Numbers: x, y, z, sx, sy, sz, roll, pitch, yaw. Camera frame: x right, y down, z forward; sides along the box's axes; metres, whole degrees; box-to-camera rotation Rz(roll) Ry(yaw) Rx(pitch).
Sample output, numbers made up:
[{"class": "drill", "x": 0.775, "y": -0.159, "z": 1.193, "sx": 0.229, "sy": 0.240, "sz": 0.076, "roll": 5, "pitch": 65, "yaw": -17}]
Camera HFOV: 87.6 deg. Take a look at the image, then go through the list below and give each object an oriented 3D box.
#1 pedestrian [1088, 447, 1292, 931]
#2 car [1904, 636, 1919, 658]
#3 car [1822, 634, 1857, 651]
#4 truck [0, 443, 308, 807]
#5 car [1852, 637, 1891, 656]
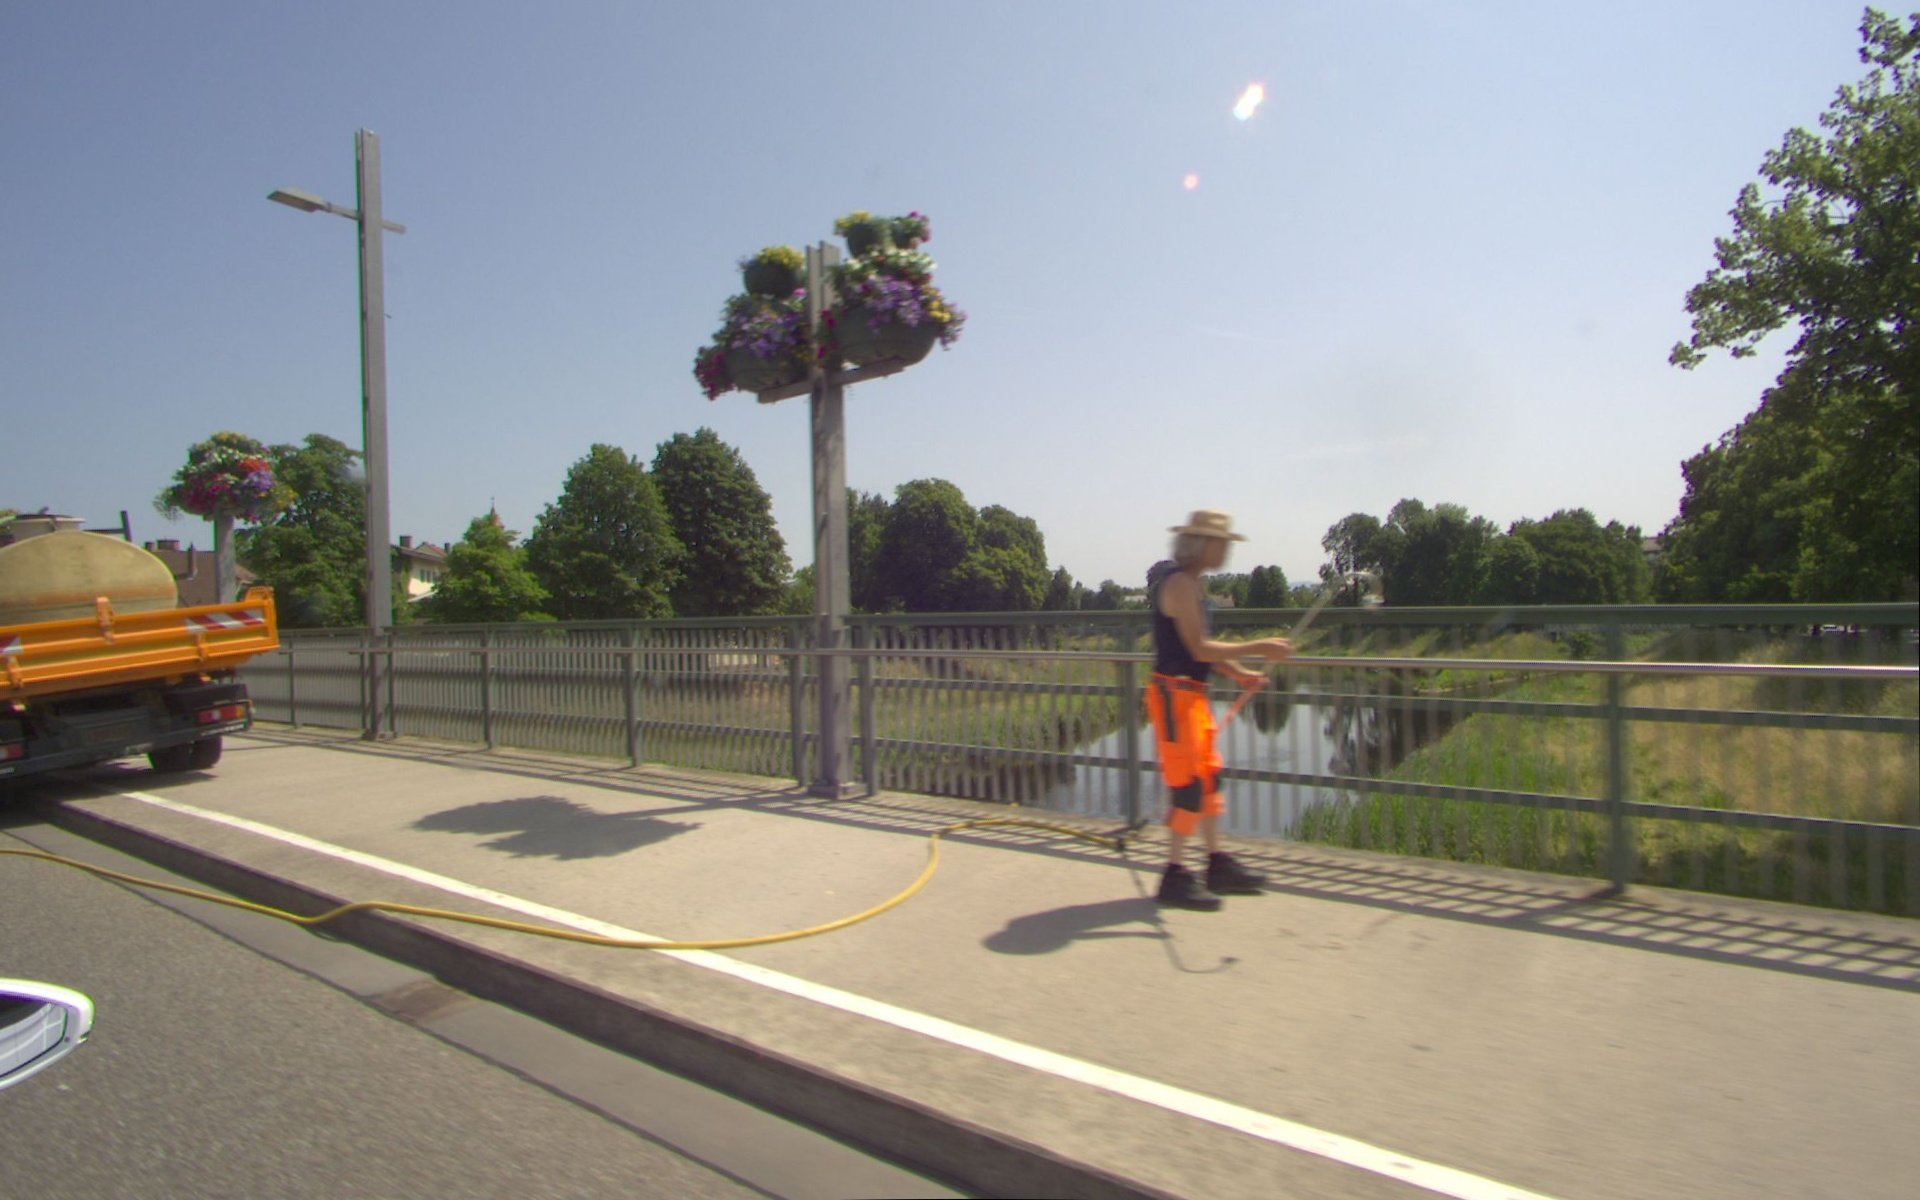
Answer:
[{"class": "pedestrian", "x": 1.041, "y": 0.379, "z": 4.543, "sx": 0.665, "sy": 1.985, "sz": 0.544, "roll": -3, "pitch": -1, "yaw": 42}, {"class": "car", "x": 73.061, "y": 3.590, "z": 75.600, "sx": 1.802, "sy": 1.571, "sz": 4.114, "roll": -1, "pitch": -3, "yaw": 31}, {"class": "car", "x": 85.089, "y": 4.145, "z": 96.918, "sx": 1.802, "sy": 1.571, "sz": 3.983, "roll": -1, "pitch": -3, "yaw": 31}, {"class": "truck", "x": -9.037, "y": 0.273, "z": 9.834, "sx": 5.749, "sy": 2.726, "sz": 2.597, "roll": -2, "pitch": -1, "yaw": 37}, {"class": "car", "x": 80.217, "y": 4.138, "z": 88.201, "sx": 1.802, "sy": 1.571, "sz": 3.983, "roll": -1, "pitch": -3, "yaw": 31}]
